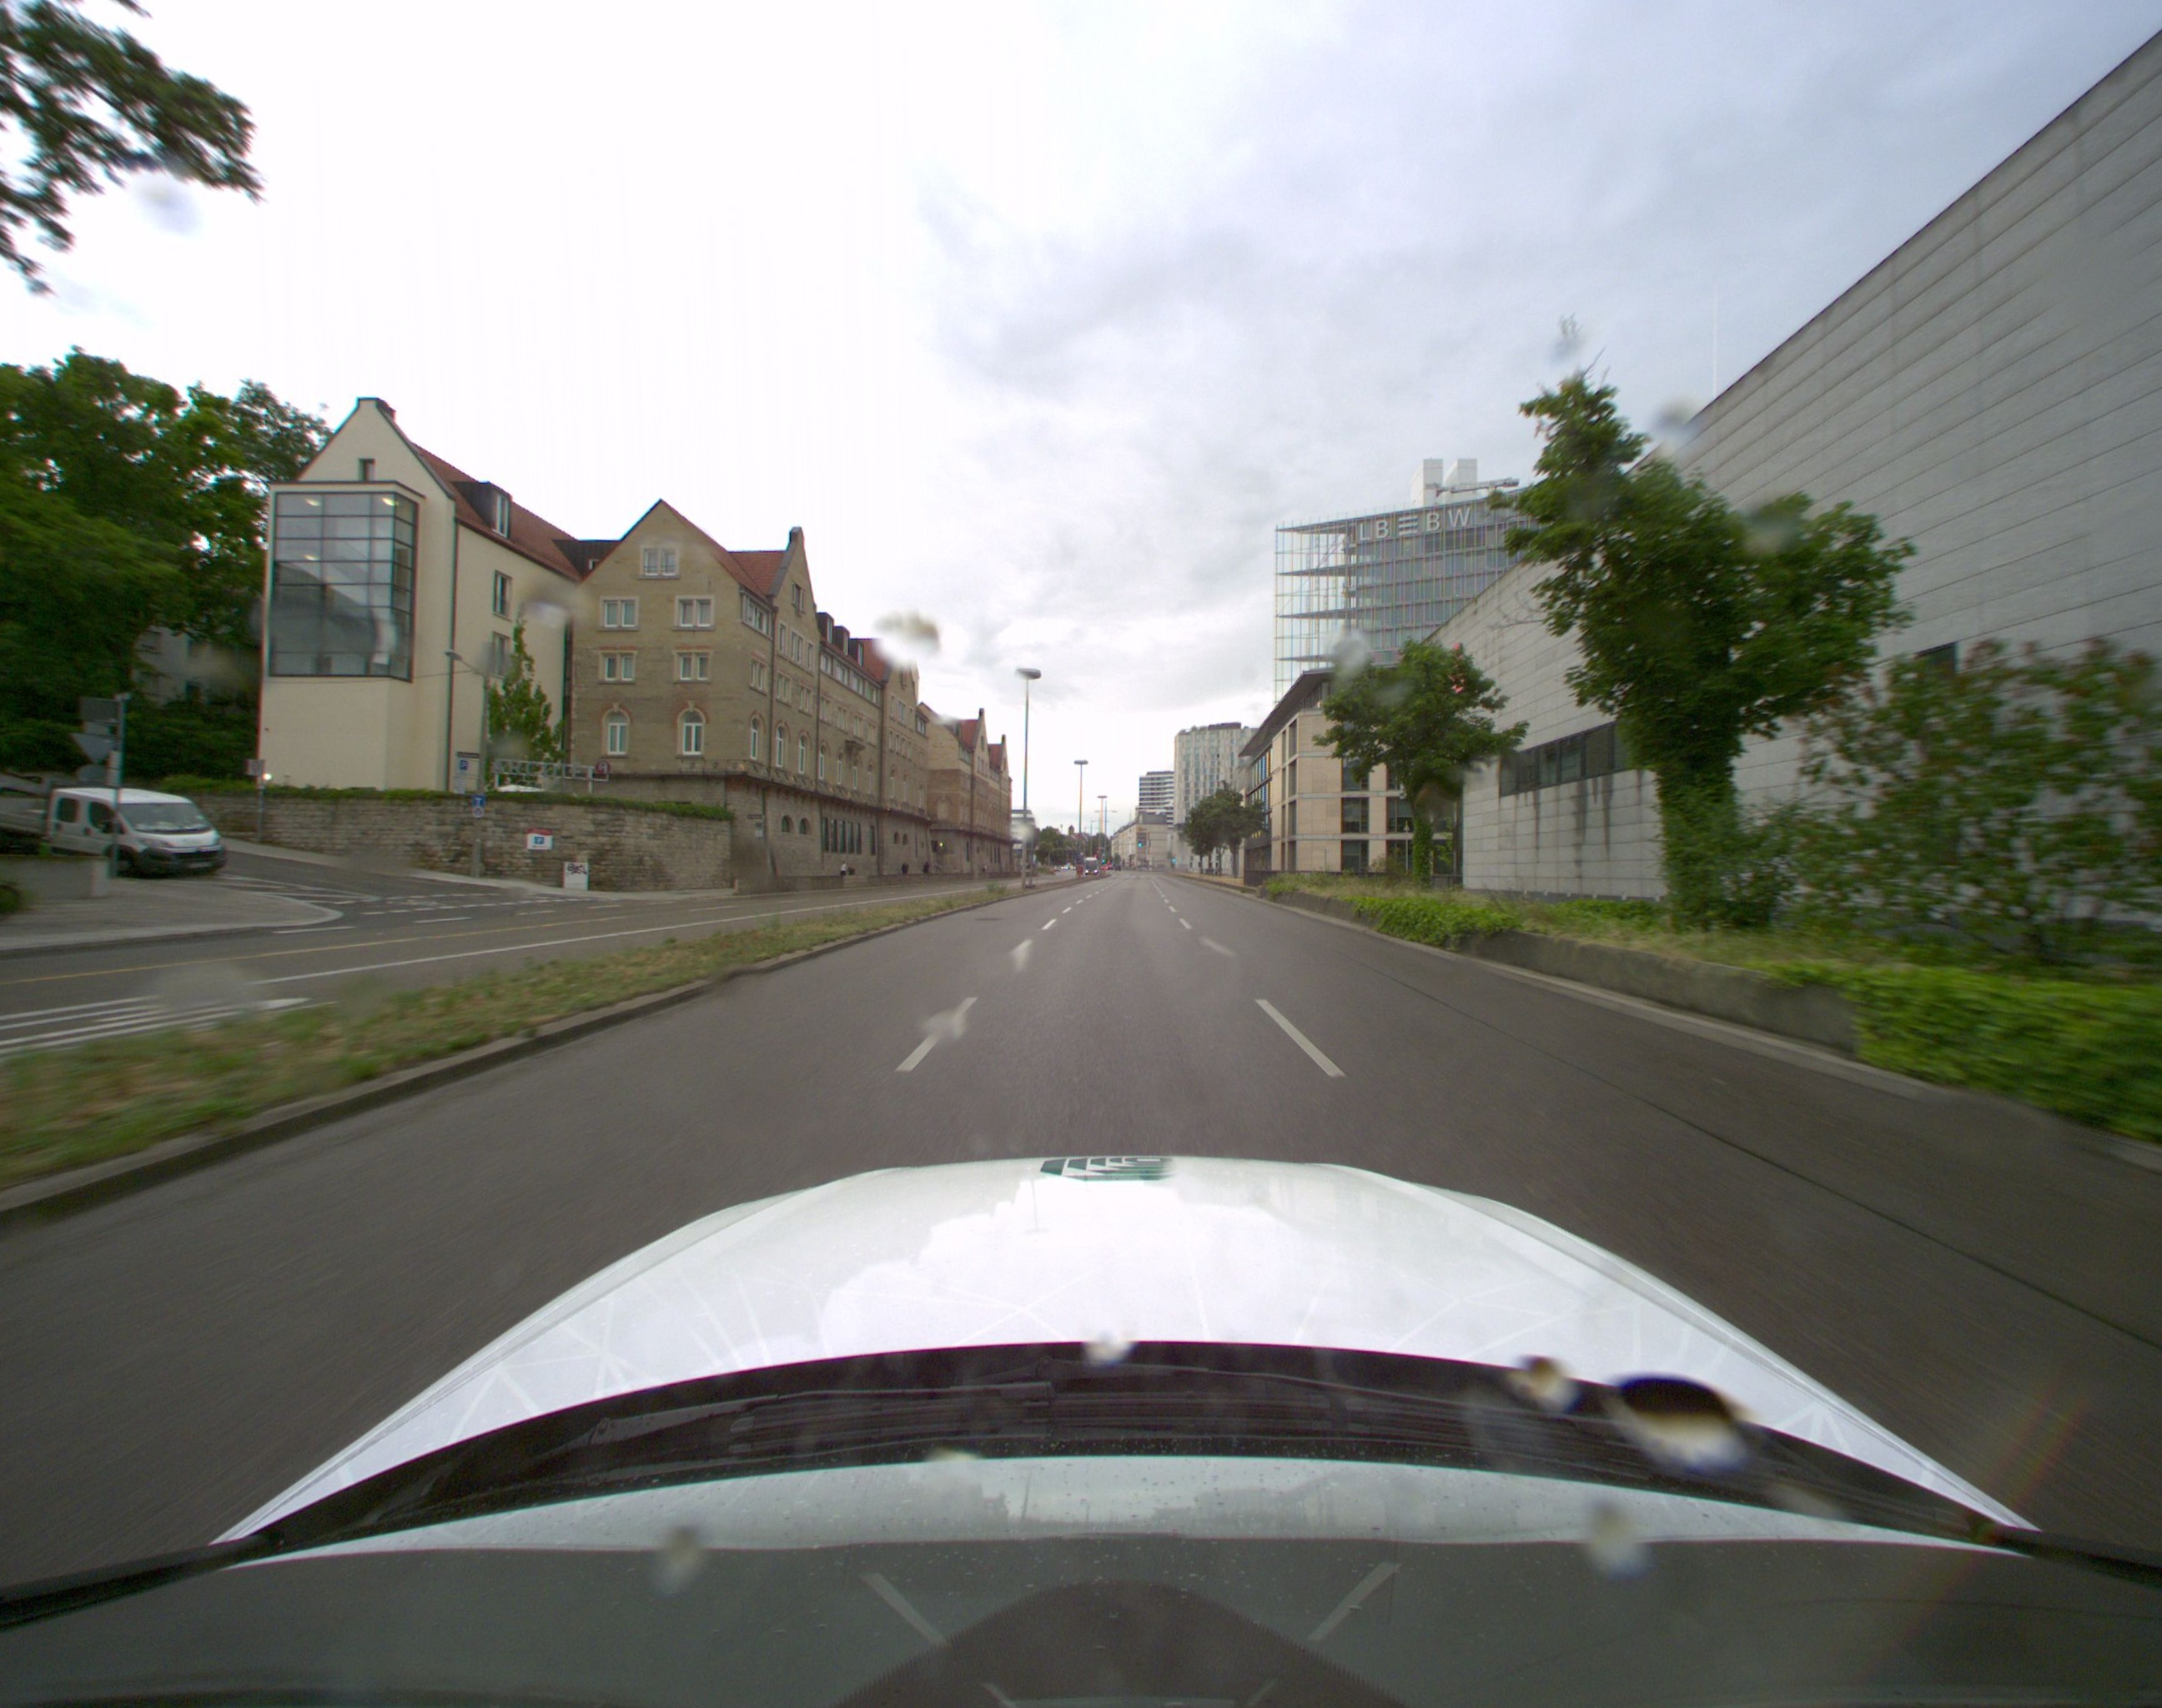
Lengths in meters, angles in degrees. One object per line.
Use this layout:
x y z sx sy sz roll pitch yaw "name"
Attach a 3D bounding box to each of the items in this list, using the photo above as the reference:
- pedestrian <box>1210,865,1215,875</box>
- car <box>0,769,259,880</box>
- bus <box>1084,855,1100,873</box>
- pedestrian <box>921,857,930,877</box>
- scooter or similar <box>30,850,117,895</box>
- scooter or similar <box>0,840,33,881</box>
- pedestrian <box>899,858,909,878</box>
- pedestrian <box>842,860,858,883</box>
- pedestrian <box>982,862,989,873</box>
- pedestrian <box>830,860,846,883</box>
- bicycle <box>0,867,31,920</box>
21.754 2.608 134.278 0.544 1.578 0.675 -1 0 38 "pedestrian"
-27.959 -0.902 23.138 6.871 2.274 2.518 7 4 4 "car"
2.260 2.122 167.644 2.686 3.559 10.103 -1 -1 4 "bus"
-14.164 1.194 74.137 0.638 1.746 0.621 -1 0 2 "pedestrian"
-23.895 0.436 19.322 1.463 0.921 0.444 5 0 2 "scooter or similar"
-26.390 0.125 19.703 1.463 0.921 0.444 5 0 2 "scooter or similar"
-15.022 1.189 69.240 0.638 1.746 0.621 -1 0 2 "pedestrian"
-15.212 1.139 53.629 0.751 1.478 0.715 -1 0 3 "pedestrian"
-12.159 1.707 103.523 0.751 1.478 0.715 -1 0 3 "pedestrian"
-15.994 1.159 53.654 0.751 1.478 0.715 -1 0 3 "pedestrian"
-20.591 0.744 14.866 0.454 0.991 1.760 1 0 4 "bicycle"
